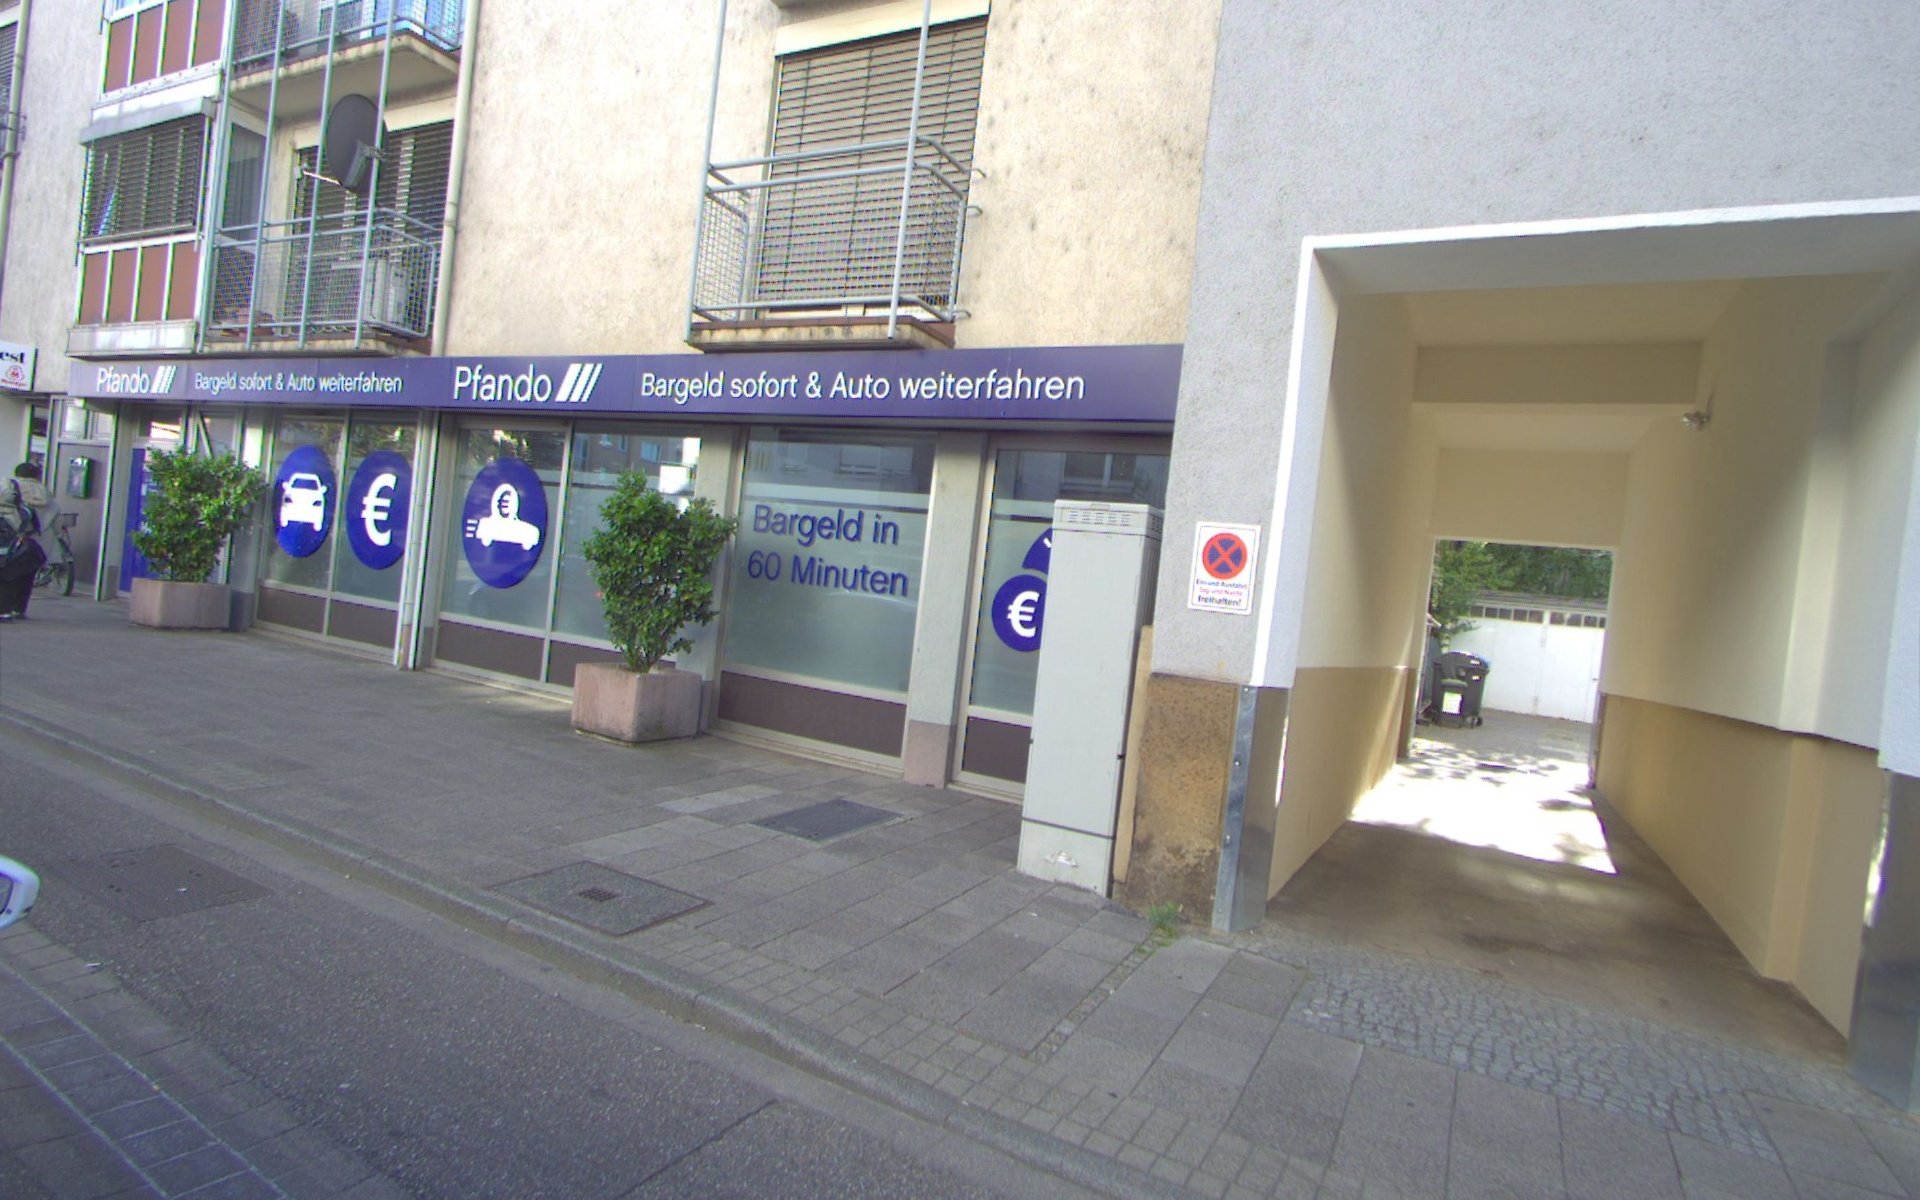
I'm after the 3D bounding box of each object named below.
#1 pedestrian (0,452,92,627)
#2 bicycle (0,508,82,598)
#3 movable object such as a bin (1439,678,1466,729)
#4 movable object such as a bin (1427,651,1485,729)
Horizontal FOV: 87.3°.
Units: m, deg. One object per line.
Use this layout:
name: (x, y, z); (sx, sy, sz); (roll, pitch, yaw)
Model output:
pedestrian: (-9.298, -0.602, 9.894); (0.738, 1.611, 0.827); (6, -1, 31)
bicycle: (-11.955, -0.629, 12.854); (1.678, 1.010, 0.543); (6, -1, 32)
movable object such as a bin: (9.522, 1.999, 19.451); (0.365, 0.920, 0.420); (7, 2, 28)
movable object such as a bin: (9.857, 1.771, 19.969); (0.873, 1.411, 0.758); (7, 2, 28)
